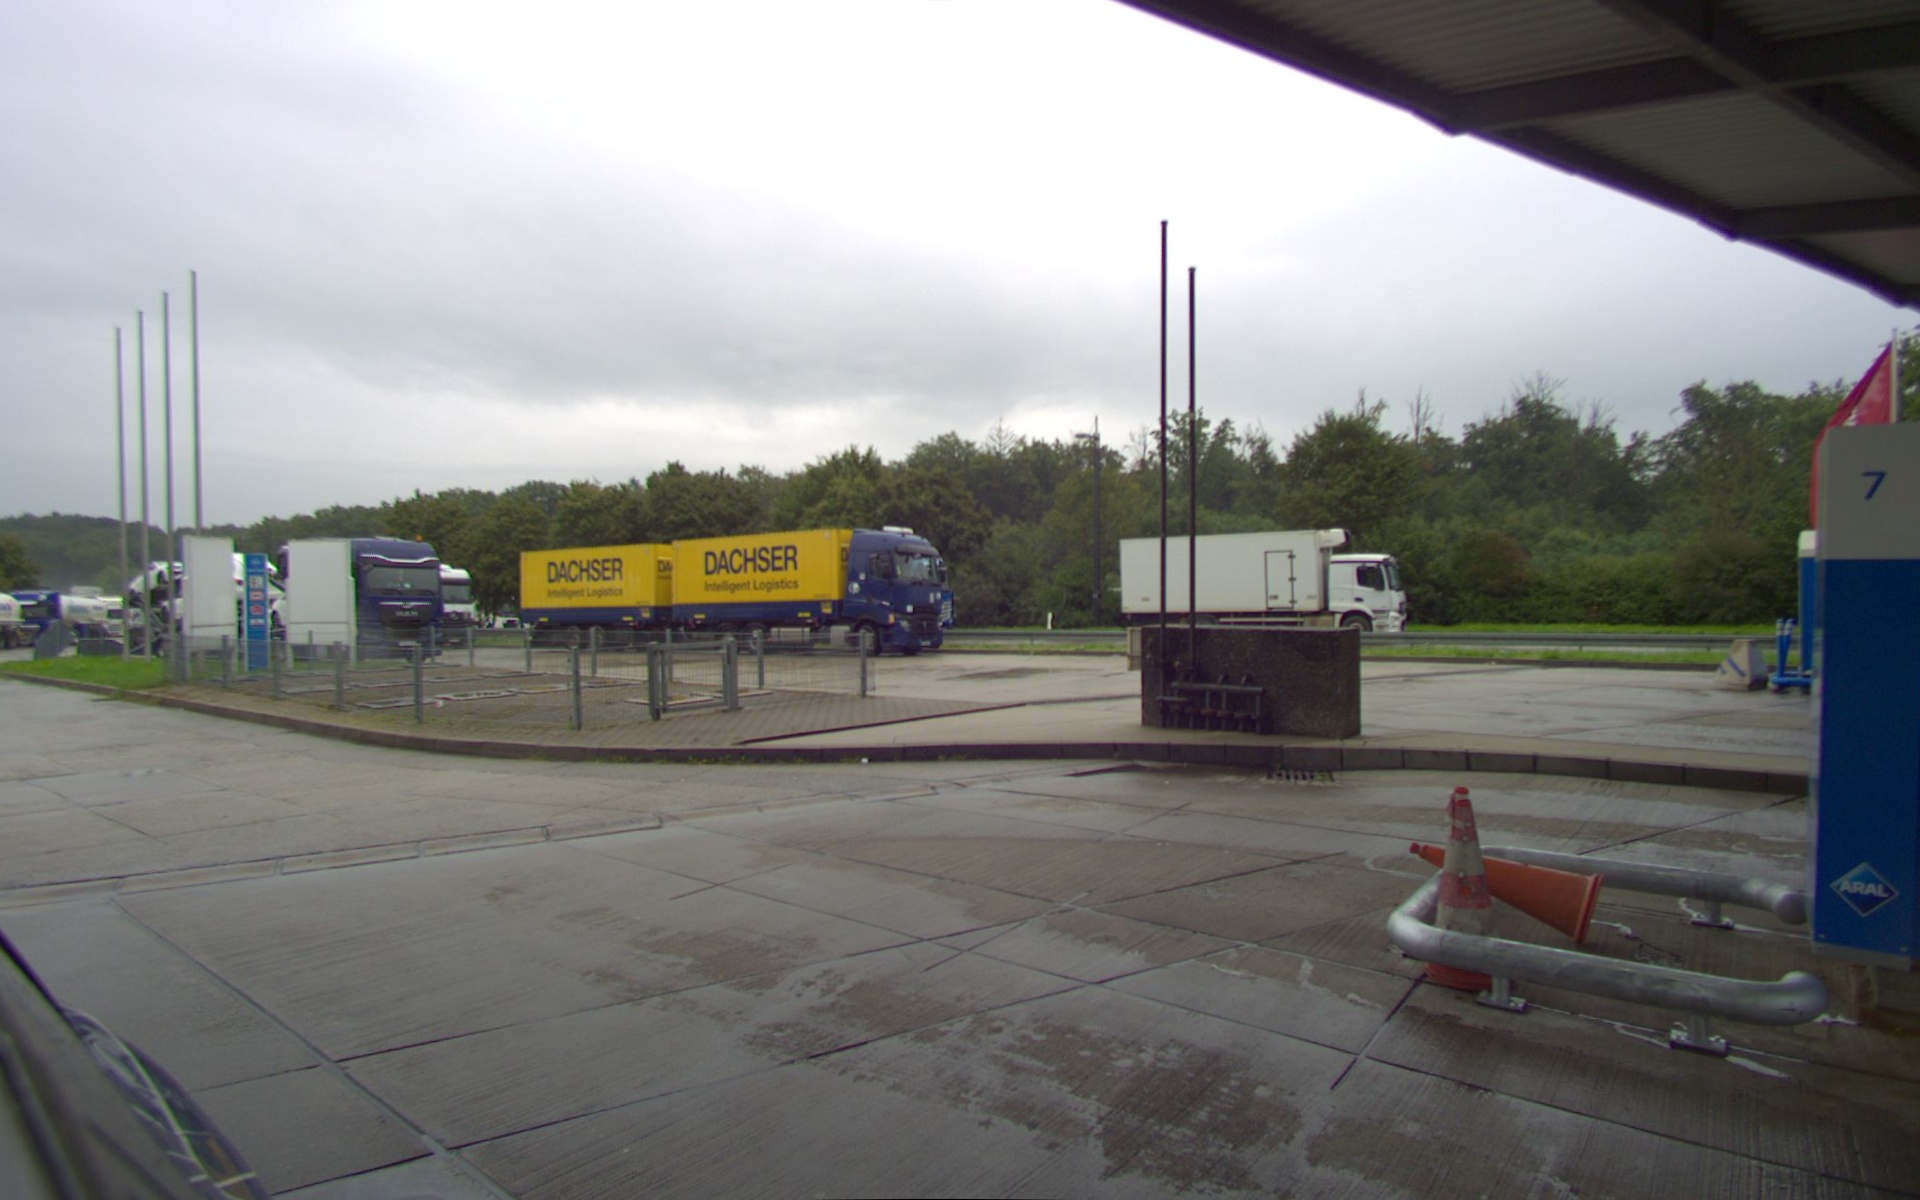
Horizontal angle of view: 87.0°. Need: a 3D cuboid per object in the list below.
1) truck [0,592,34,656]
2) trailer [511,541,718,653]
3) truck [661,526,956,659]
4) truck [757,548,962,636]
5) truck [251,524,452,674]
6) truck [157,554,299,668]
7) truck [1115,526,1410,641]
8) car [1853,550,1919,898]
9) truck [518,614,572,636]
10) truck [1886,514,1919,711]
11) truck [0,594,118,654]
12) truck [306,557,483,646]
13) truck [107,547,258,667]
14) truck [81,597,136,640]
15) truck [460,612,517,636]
[{"bbox_3d":[-55.165,1.337,53.691,3.454,3.633,14.444,-1,-1,-19],"label":"truck"},{"bbox_3d":[-13.507,-0.070,39.262,8.679,3.946,2.728,-1,0,32],"label":"trailer"},{"bbox_3d":[-5.345,-0.174,34.033,10.654,3.946,2.727,-1,0,33],"label":"truck"},{"bbox_3d":[-4.887,-0.308,47.648,10.195,3.836,2.395,-1,0,31],"label":"truck"},{"bbox_3d":[-19.017,0.013,31.481,7.089,4.213,2.635,-1,0,35],"label":"truck"},{"bbox_3d":[-26.115,0.397,36.077,4.738,3.800,2.635,-1,0,34],"label":"truck"},{"bbox_3d":[10.962,-0.510,37.454,10.195,3.836,2.395,-1,0,31],"label":"truck"},{"bbox_3d":[6.904,0.547,3.805,5.269,1.620,1.842,-1,0,41],"label":"car"},{"bbox_3d":[-42.751,2.532,104.248,5.810,2.140,2.061,-1,0,31],"label":"truck"},{"bbox_3d":[14.986,0.131,11.960,5.859,2.513,2.208,-1,0,41],"label":"truck"},{"bbox_3d":[-61.504,1.621,68.657,3.454,3.633,14.709,-1,-1,-27],"label":"truck"},{"bbox_3d":[-27.327,0.106,48.631,10.654,3.946,2.727,-1,0,33],"label":"truck"},{"bbox_3d":[-29.597,0.300,38.450,6.605,4.213,2.635,-1,0,35],"label":"truck"},{"bbox_3d":[-87.854,1.870,104.307,11.525,4.160,3.101,-1,0,44],"label":"truck"},{"bbox_3d":[-44.972,2.262,96.490,5.810,2.140,2.061,-1,0,31],"label":"truck"}]
